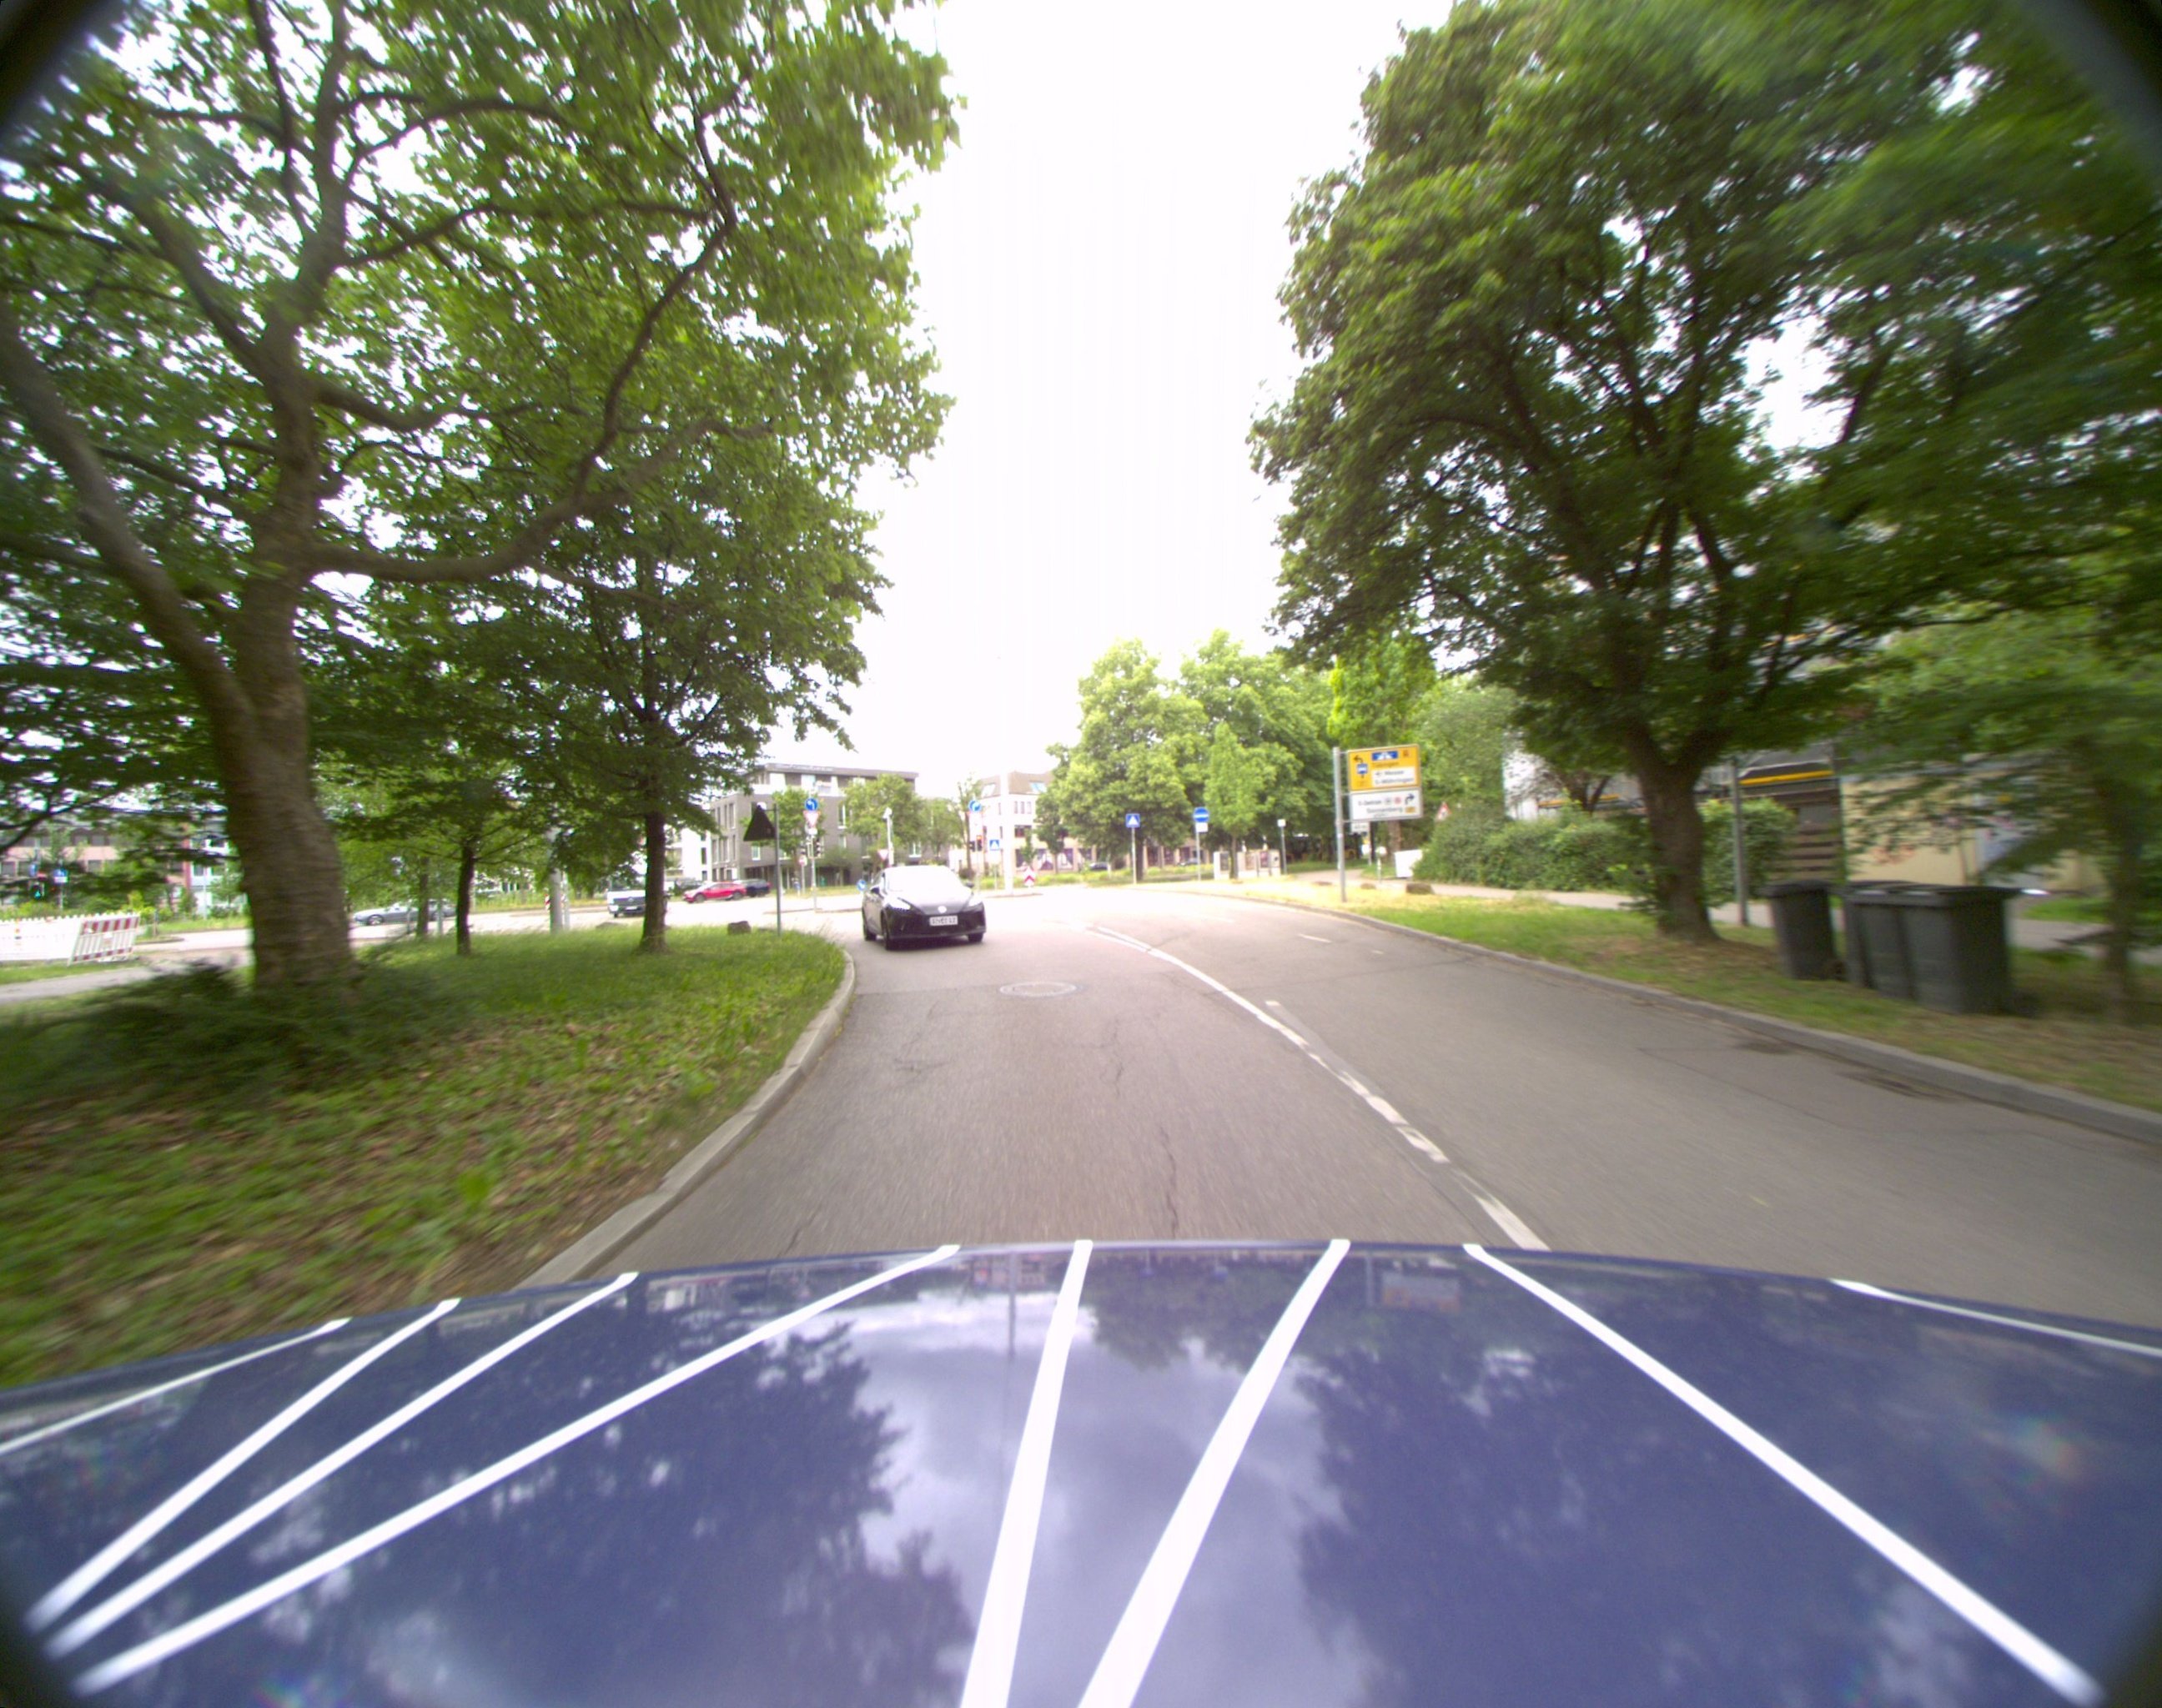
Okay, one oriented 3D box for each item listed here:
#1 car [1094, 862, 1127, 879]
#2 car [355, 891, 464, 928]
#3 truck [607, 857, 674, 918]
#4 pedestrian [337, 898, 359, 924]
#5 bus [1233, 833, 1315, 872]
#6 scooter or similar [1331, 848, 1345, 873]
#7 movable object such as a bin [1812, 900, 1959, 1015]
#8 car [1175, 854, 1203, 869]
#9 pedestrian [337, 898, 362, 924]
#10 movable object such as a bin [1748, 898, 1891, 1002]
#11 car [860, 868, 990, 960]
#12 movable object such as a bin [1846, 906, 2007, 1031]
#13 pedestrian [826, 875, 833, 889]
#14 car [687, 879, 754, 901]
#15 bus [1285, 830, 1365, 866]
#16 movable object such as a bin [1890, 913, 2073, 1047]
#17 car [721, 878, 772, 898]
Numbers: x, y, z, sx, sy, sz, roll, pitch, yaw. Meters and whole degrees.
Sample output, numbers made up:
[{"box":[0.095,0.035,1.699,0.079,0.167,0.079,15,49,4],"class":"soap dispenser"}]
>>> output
[{"box":[3.865,2.167,99.336,1.995,1.805,4.007,-6,-1,43],"class":"car"},{"box":[-40.974,3.362,46.476,1.995,1.684,4.612,-6,-1,38],"class":"car"},{"box":[-25.559,1.840,44.352,2.440,3.176,6.454,-2,0,-22],"class":"truck"},{"box":[-50.791,3.951,52.647,0.615,1.685,0.834,-6,-1,29],"class":"pedestrian"},{"box":[18.117,-0.187,70.926,8.444,2.990,3.046,-4,-2,-42],"class":"bus"},{"box":[15.224,0.369,45.054,0.555,1.437,1.594,-5,-1,13],"class":"scooter or similar"},{"box":[6.803,0.871,6.460,0.619,0.874,0.594,-6,-1,24],"class":"movable object such as a bin"},{"box":[15.869,1.127,111.607,1.995,1.805,4.007,-6,-1,43],"class":"car"},{"box":[-50.278,3.903,52.251,0.607,1.685,1.005,-6,-1,29],"class":"pedestrian"},{"box":[6.853,0.887,7.095,0.729,0.858,0.623,-6,-1,24],"class":"movable object such as a bin"},{"box":[-3.217,1.048,15.011,1.803,1.475,4.012,-1,0,-22],"class":"car"},{"box":[6.533,0.879,5.908,0.599,0.861,0.579,-6,-1,24],"class":"movable object such as a bin"},{"box":[-26.502,2.940,80.060,0.536,1.349,0.658,-5,-1,-26],"class":"pedestrian"},{"box":[-28.573,2.862,60.340,1.821,1.476,4.387,-6,-4,39],"class":"car"},{"box":[24.852,-0.636,76.999,9.713,2.990,3.046,-4,-2,-42],"class":"bus"},{"box":[6.377,0.882,5.419,0.599,0.840,0.579,-6,-1,24],"class":"movable object such as a bin"},{"box":[-28.887,2.932,65.602,3.908,1.476,1.769,-2,-3,-25],"class":"car"}]
